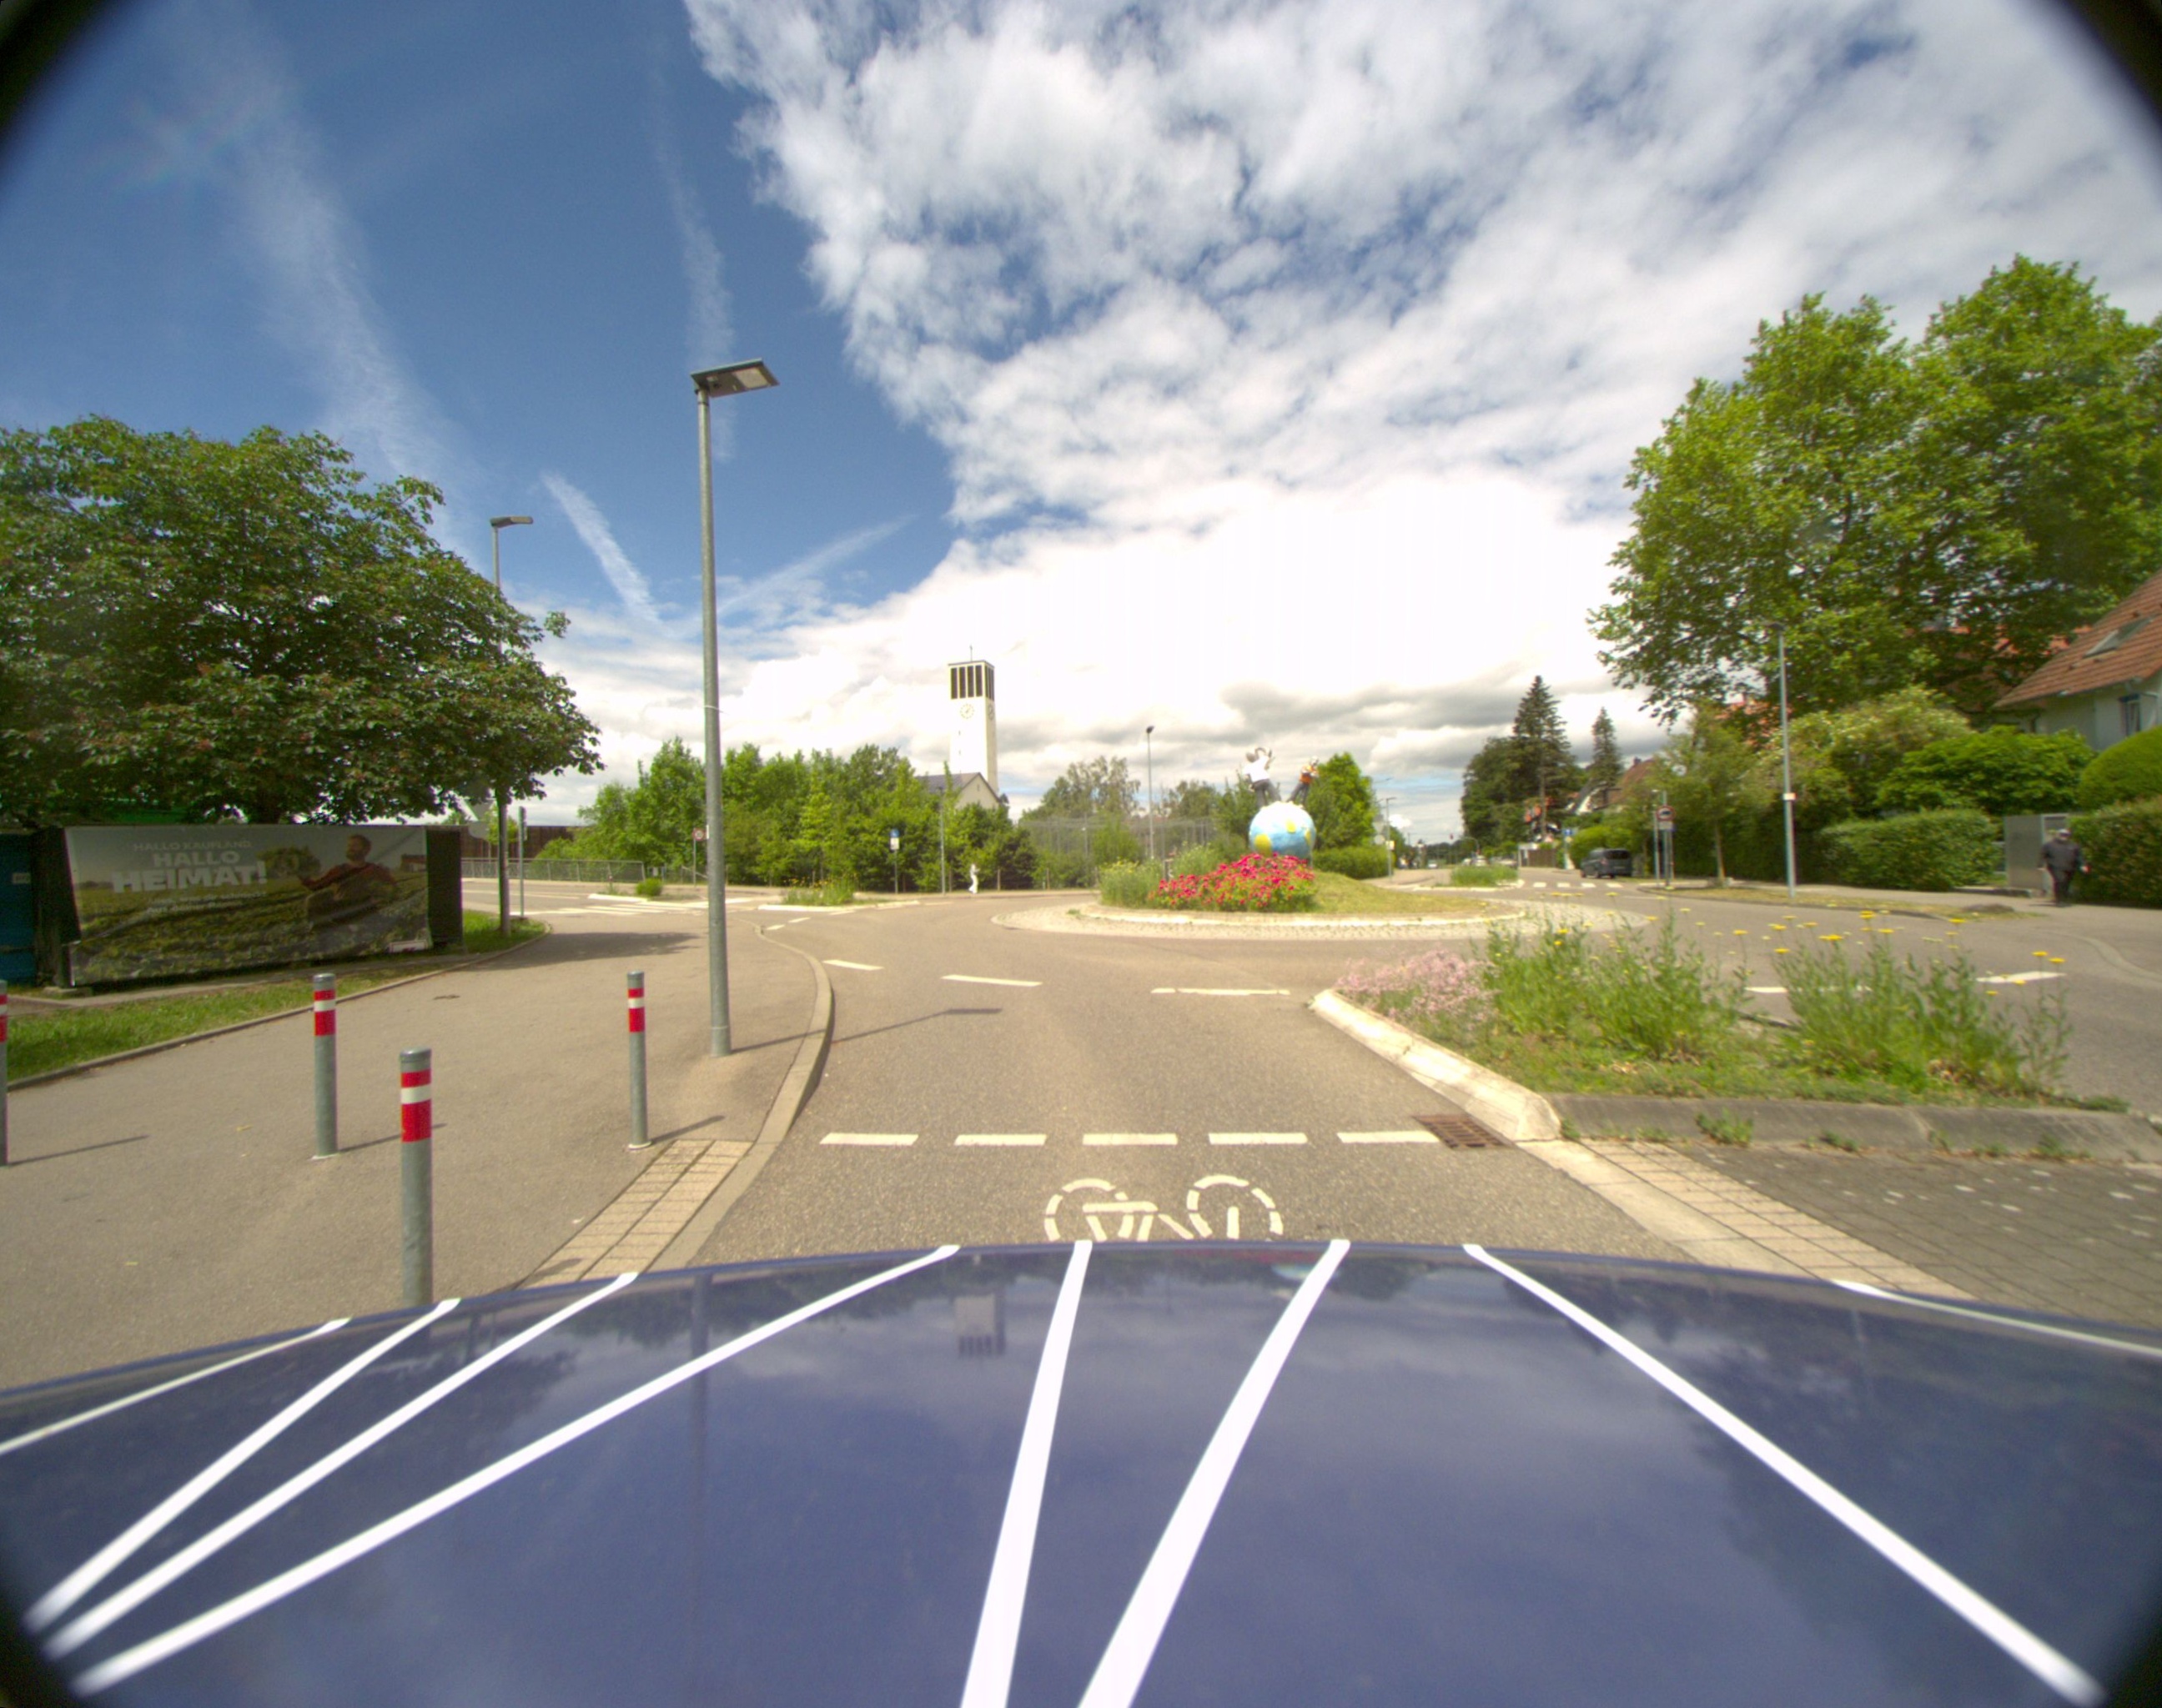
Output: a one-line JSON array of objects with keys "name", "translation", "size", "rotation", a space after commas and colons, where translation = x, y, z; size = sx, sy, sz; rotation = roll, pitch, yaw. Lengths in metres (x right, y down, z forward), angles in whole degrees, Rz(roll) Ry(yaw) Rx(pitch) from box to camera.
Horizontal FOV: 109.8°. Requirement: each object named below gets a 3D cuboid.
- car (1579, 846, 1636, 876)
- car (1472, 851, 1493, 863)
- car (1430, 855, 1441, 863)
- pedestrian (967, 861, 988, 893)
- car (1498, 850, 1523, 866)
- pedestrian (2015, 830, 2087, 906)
[{"name": "car", "translation": [30.549, 0.389, 44.181], "size": [1.678, 1.652, 4.005], "rotation": [-1, 0, 19]}, {"name": "car", "translation": [57.601, 0.367, 109.100], "size": [1.996, 1.696, 4.005], "rotation": [-1, 0, 18]}, {"name": "car", "translation": [73.632, 1.018, 157.895], "size": [1.995, 1.696, 4.006], "rotation": [-1, 0, 23]}, {"name": "pedestrian", "translation": [-4.974, 1.099, 36.532], "size": [0.457, 1.524, 0.965], "rotation": [-2, -1, 30]}, {"name": "car", "translation": [45.393, 0.422, 80.418], "size": [1.859, 1.568, 4.006], "rotation": [-3, 0, 24]}, {"name": "pedestrian", "translation": [22.247, 0.312, 17.436], "size": [0.744, 1.681, 0.695], "rotation": [-2, 0, 25]}]
